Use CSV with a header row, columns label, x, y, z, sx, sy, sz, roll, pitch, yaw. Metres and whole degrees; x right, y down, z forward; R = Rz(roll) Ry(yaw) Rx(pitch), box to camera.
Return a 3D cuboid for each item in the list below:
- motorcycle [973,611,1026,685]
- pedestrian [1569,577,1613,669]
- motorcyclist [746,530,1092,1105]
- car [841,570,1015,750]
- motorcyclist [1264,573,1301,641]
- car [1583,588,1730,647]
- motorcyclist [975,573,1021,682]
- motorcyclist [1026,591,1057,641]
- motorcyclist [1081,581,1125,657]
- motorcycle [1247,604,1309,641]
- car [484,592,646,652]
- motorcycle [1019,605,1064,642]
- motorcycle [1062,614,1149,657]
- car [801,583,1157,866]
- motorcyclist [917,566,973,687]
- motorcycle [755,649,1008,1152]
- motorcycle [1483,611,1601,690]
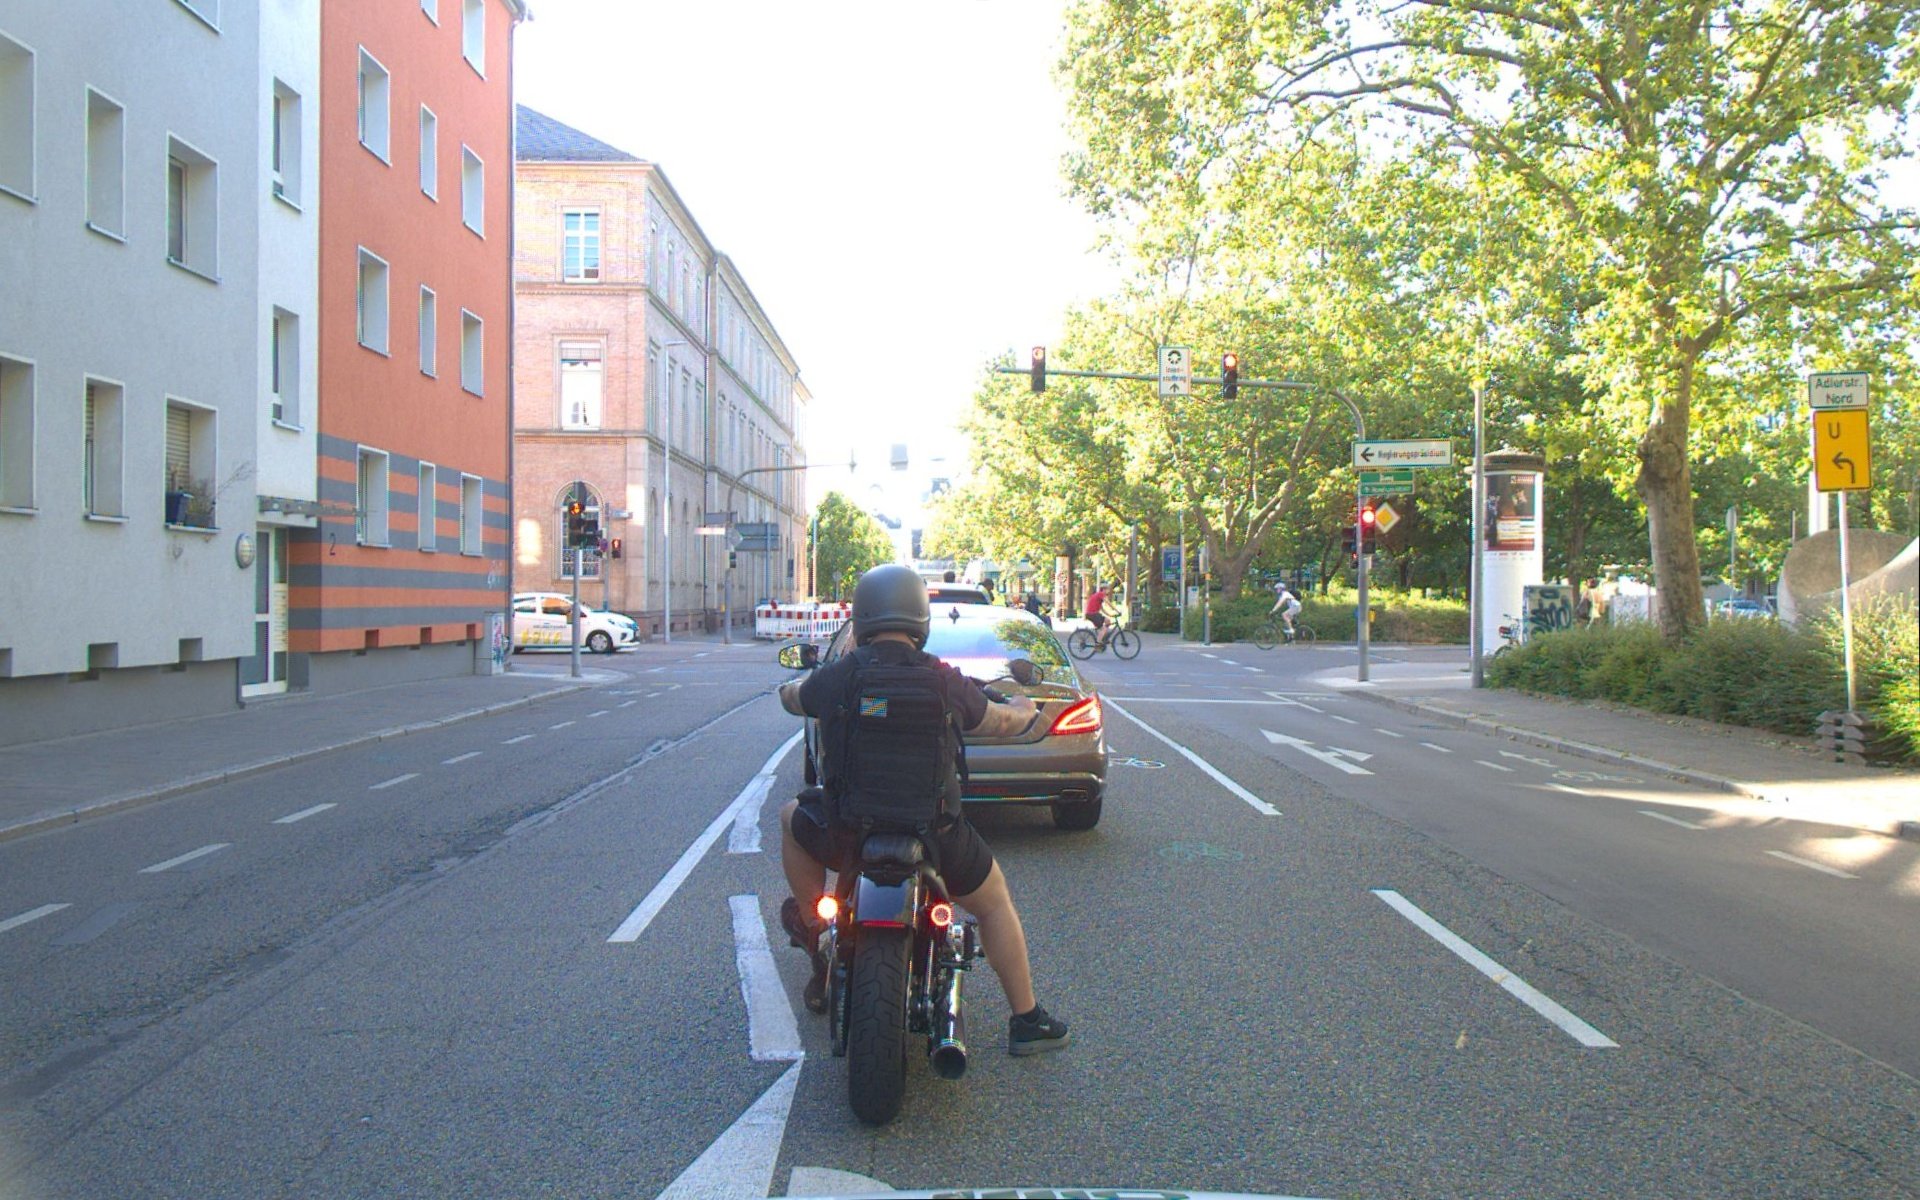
label,x,y,z,sx,sy,sz,roll,pitch,yaw
motorcycle,0.635,0.763,27.339,0.781,1.151,2.236,1,0,-1
pedestrian,12.889,0.466,33.779,0.634,1.859,0.667,0,0,-1
motorcyclist,-0.125,0.629,5.321,0.970,1.639,1.120,1,0,-1
car,-0.329,0.575,17.611,1.618,1.681,3.999,1,0,-1
motorcyclist,9.091,0.188,46.649,0.962,1.909,0.376,0,-1,3
car,21.991,0.542,52.288,3.907,1.803,1.737,0,0,-3
motorcyclist,0.623,0.451,27.350,0.702,1.773,0.751,1,-1,-1
motorcyclist,2.553,0.500,51.862,0.631,1.564,0.942,1,-1,27
motorcyclist,3.346,0.435,38.747,0.964,1.753,0.550,1,-1,0
motorcycle,8.971,0.631,46.686,1.683,1.019,0.416,0,0,3
car,-9.704,0.544,40.799,3.670,1.442,1.439,0,0,-3
motorcycle,2.569,0.723,51.699,0.614,1.116,2.085,1,0,26
motorcycle,3.407,0.827,38.736,1.971,0.979,0.580,1,0,0
car,-0.087,0.685,11.121,1.790,1.512,4.326,1,0,-7
motorcyclist,-0.236,0.400,25.582,0.814,1.820,0.913,1,-1,-1
motorcycle,-0.220,0.822,5.389,0.646,1.261,2.057,1,0,-1
motorcycle,9.775,0.839,27.818,1.743,1.265,0.723,1,0,4
